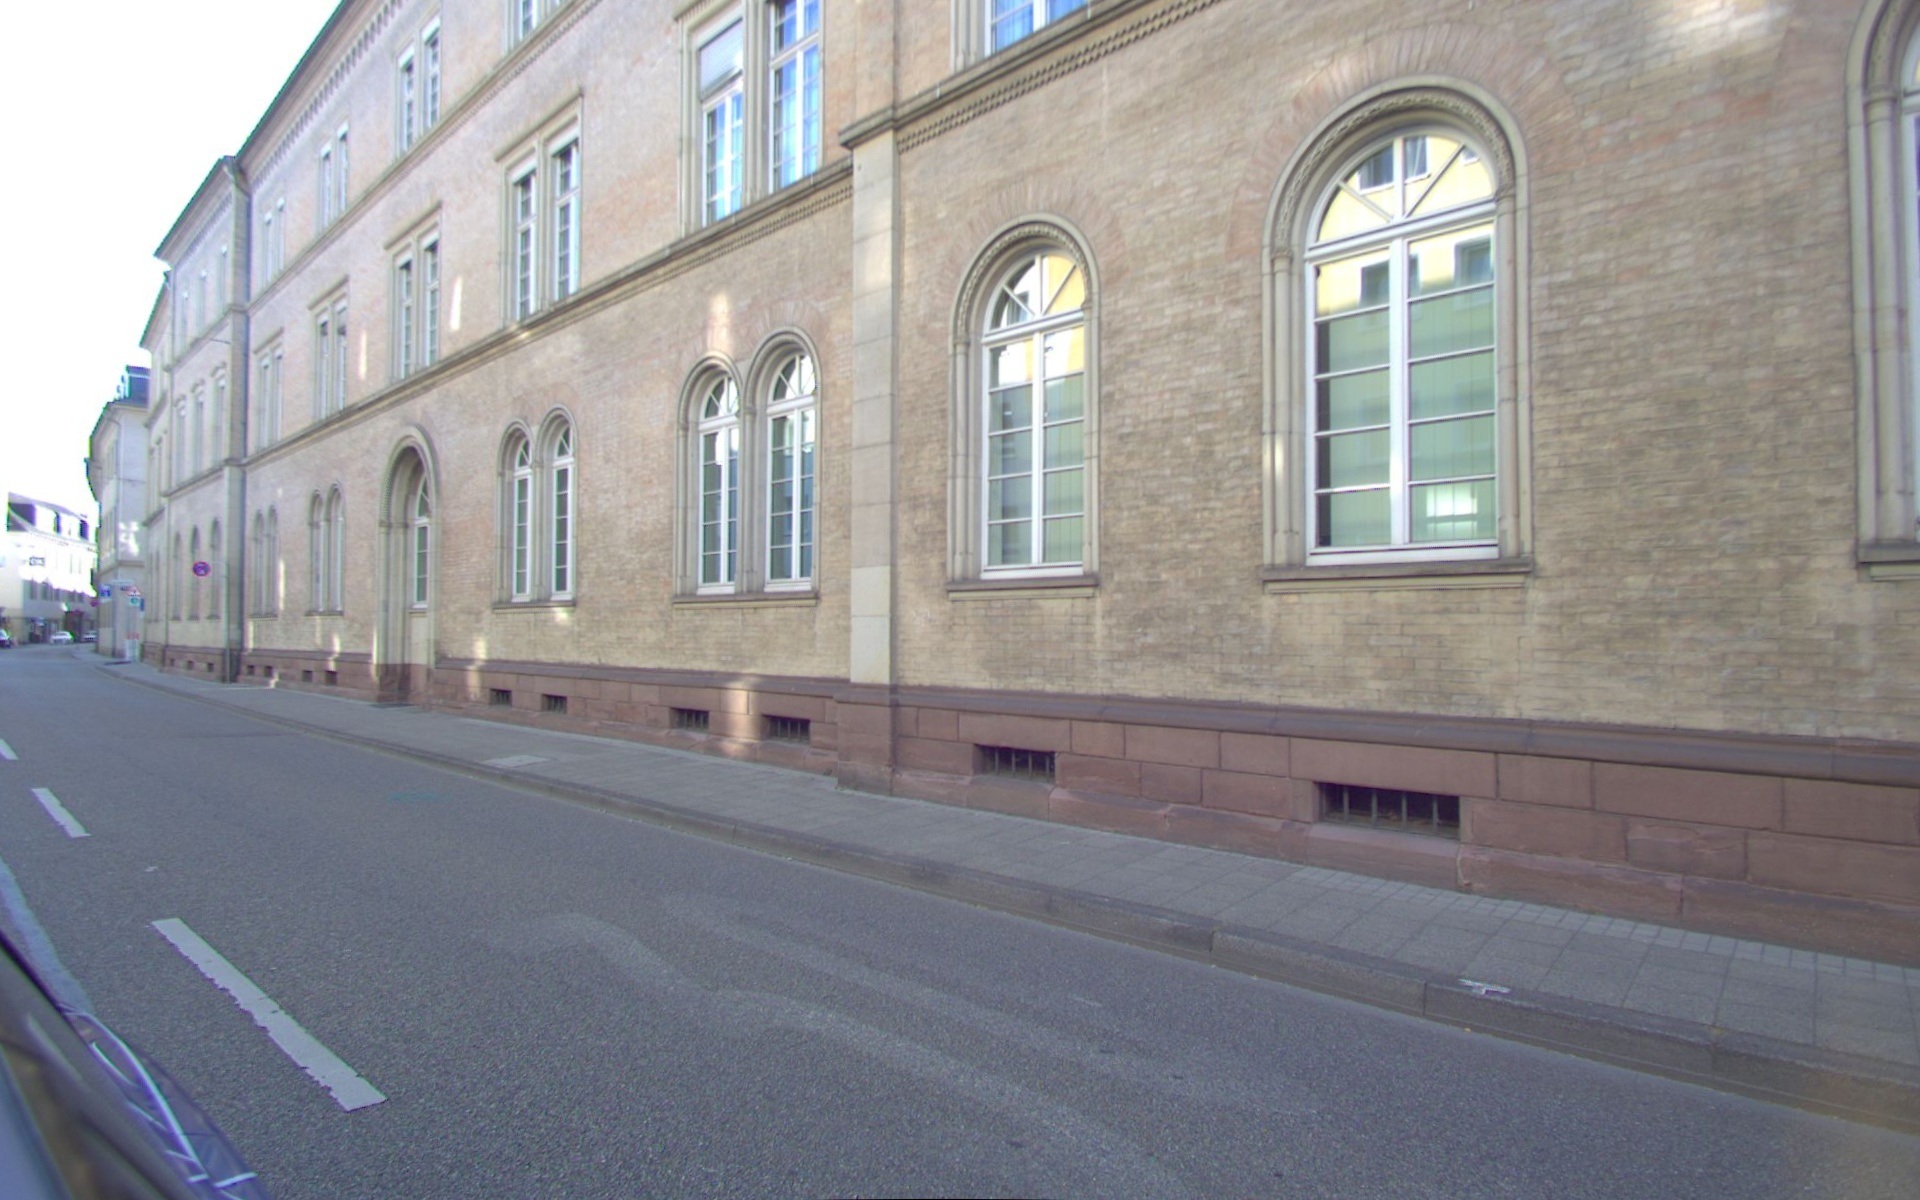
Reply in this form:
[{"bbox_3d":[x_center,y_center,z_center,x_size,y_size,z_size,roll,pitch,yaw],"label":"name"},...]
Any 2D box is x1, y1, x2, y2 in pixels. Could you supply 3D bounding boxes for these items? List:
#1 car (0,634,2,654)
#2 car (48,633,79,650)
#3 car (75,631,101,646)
[{"bbox_3d":[-86.617,3.946,89.938,1.969,1.665,4.235,-1,0,-41],"label":"car"},{"bbox_3d":[-102.861,4.747,116.161,1.966,1.665,4.240,-1,0,-33],"label":"car"},{"bbox_3d":[-109.236,4.829,126.813,1.966,1.665,4.240,-1,0,-33],"label":"car"}]
